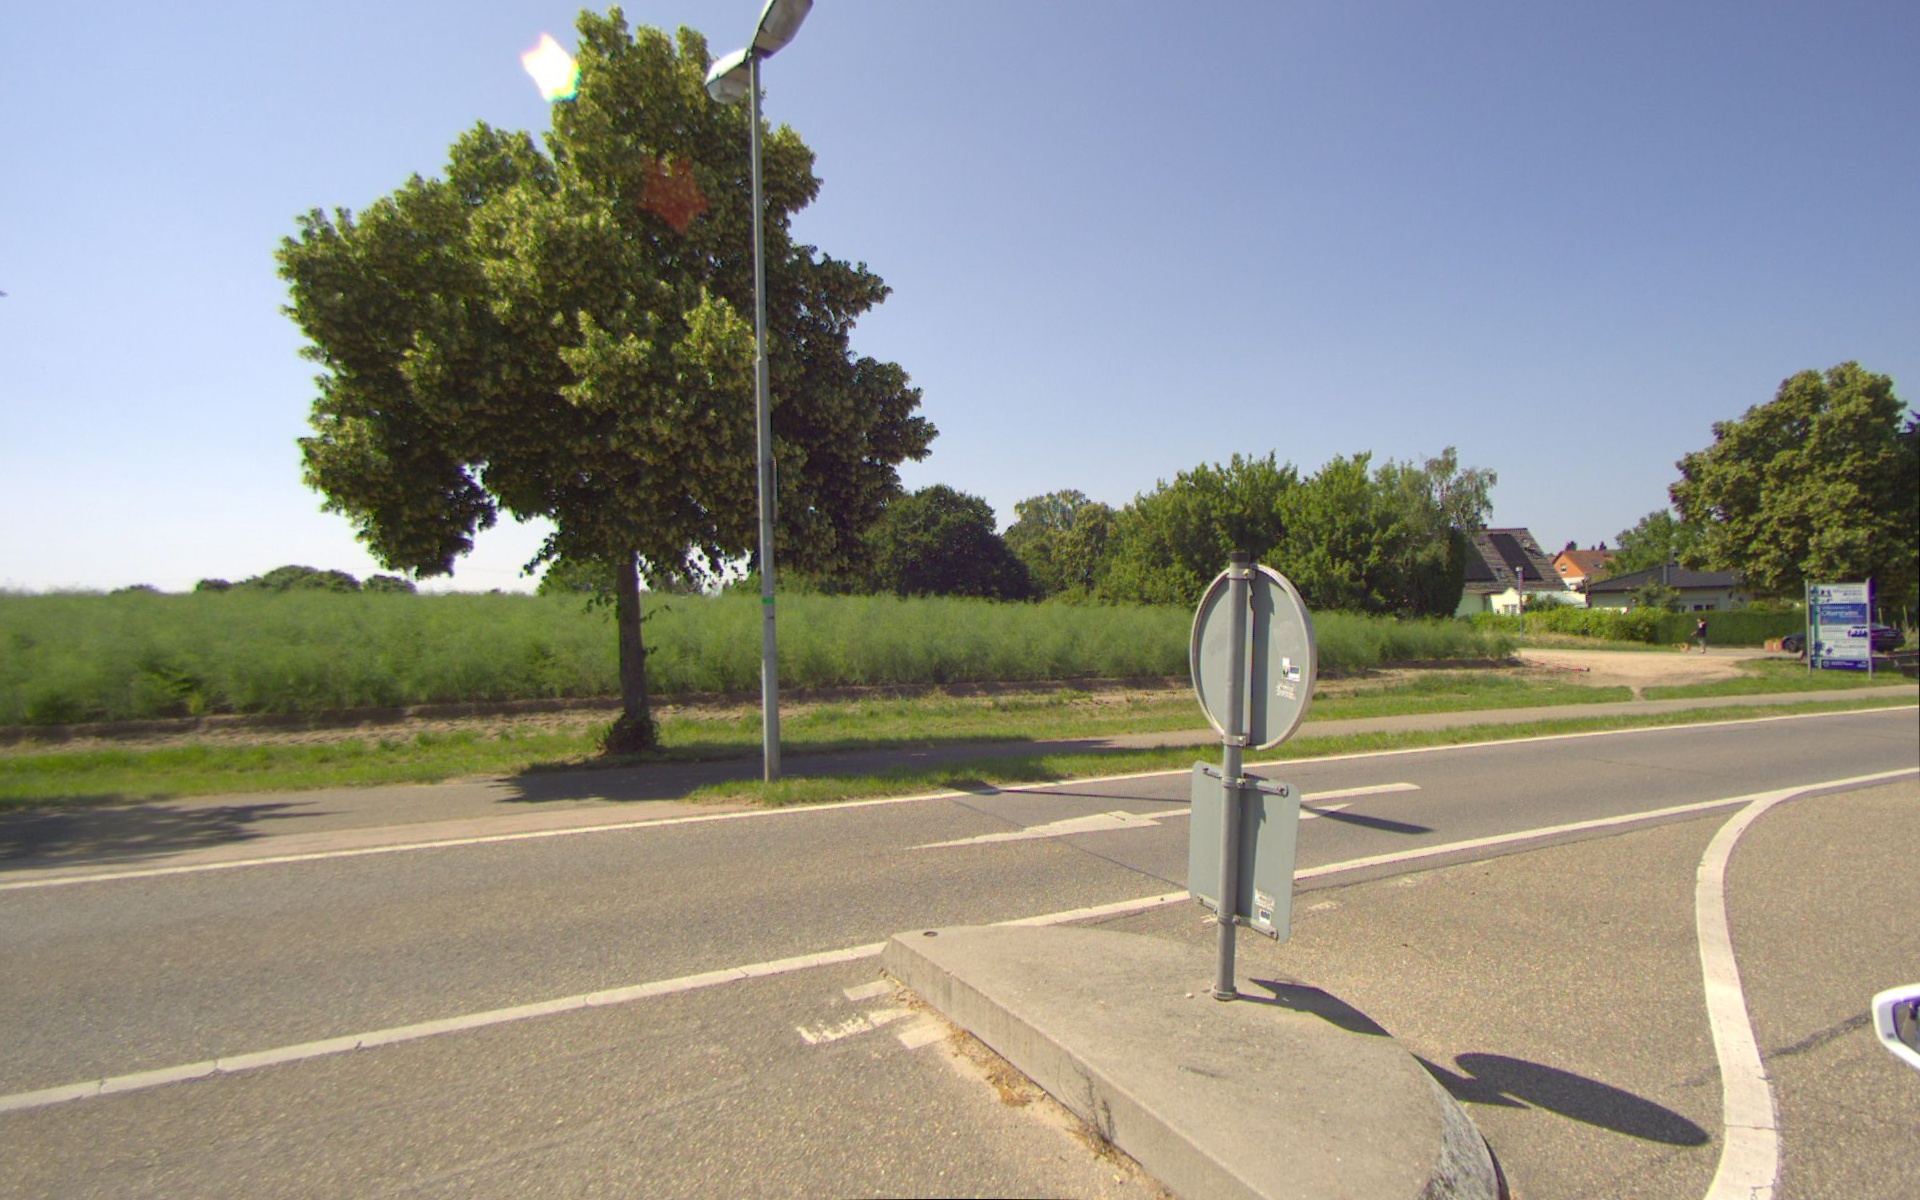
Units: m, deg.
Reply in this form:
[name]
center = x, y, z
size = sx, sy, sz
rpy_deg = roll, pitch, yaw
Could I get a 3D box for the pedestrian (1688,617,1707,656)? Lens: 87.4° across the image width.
[pedestrian]
center = 33.633, 1.653, 45.822
size = 0.665, 1.739, 0.548
rpy_deg = -1, 0, 37

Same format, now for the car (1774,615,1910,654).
[car]
center = 37.563, 1.472, 42.929
size = 1.962, 1.539, 4.098
rpy_deg = -1, -2, -6

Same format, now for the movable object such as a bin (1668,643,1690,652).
[movable object such as a bin]
center = 32.938, 2.170, 46.024
size = 0.316, 0.416, 0.757
rpy_deg = 0, -1, -32
